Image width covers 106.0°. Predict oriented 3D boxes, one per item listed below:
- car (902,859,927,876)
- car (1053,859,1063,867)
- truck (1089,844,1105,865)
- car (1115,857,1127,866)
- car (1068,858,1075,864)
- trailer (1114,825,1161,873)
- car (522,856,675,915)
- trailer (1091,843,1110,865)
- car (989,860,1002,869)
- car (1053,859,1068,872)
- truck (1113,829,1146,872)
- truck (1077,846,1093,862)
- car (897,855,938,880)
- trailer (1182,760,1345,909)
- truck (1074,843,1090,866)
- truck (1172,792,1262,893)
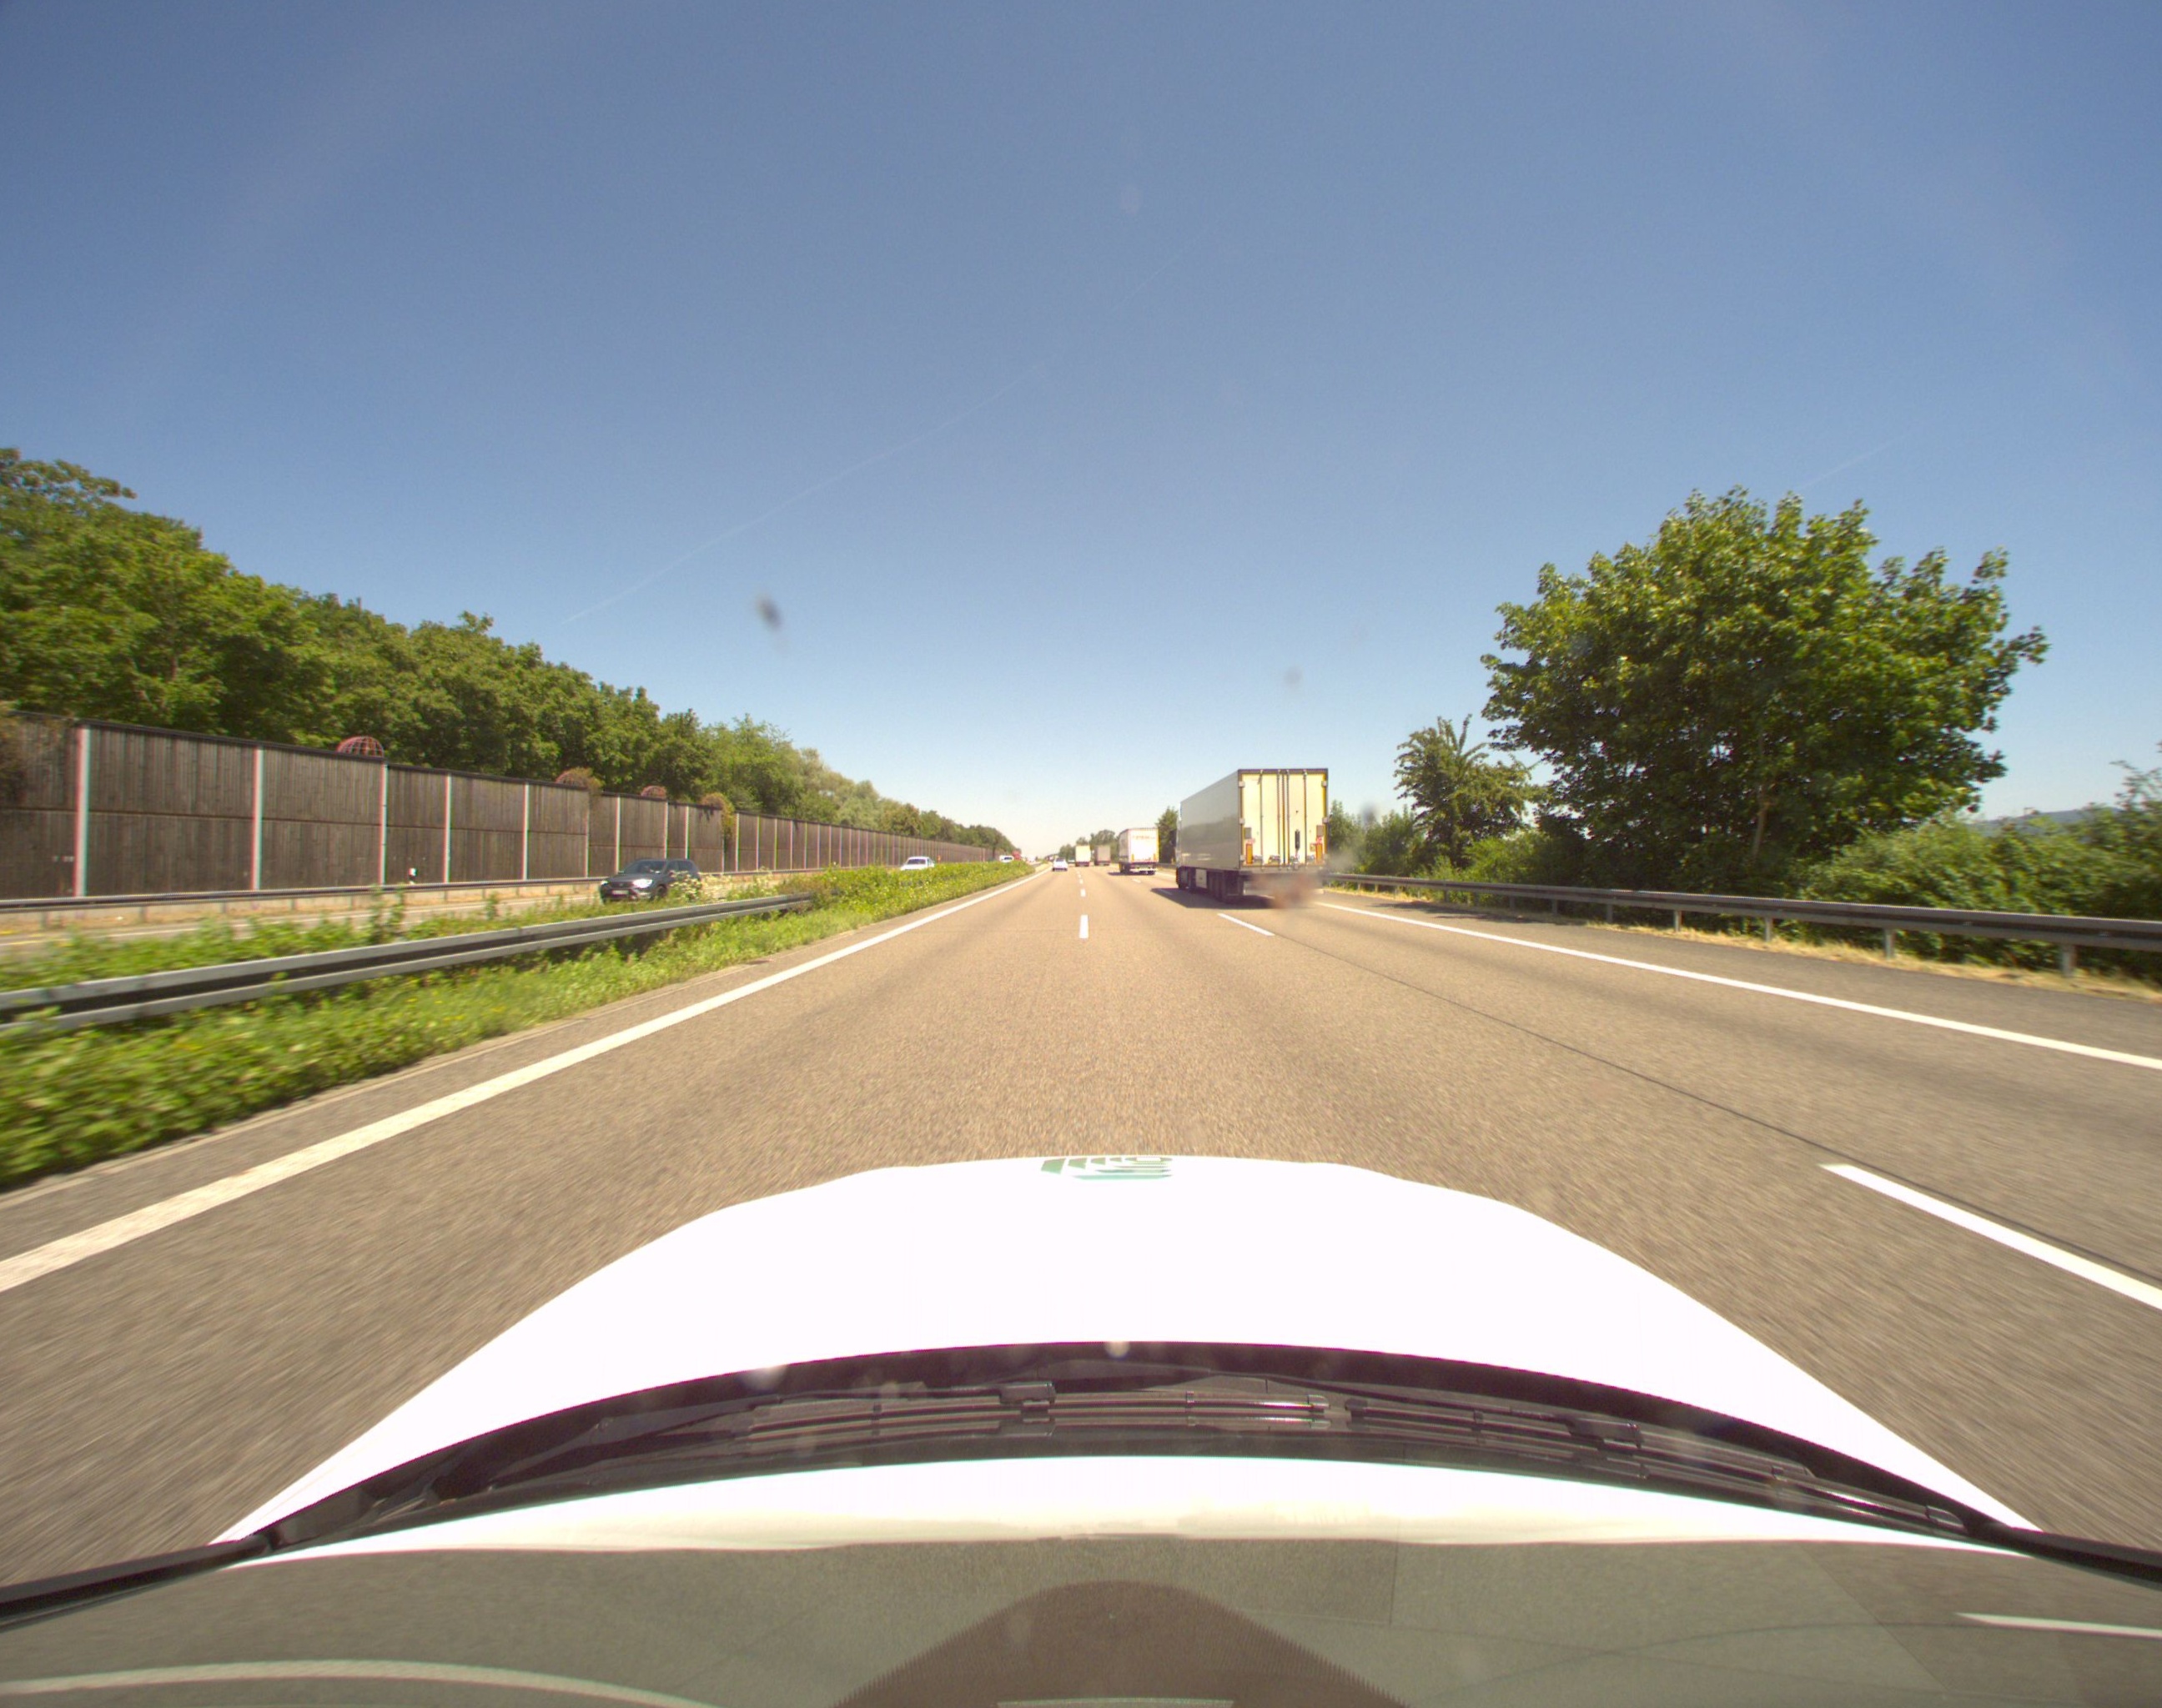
[{"bbox_3d":[-20.286,1.666,99.482,1.987,2.014,5.384,0,0,0],"label":"car"},{"bbox_3d":[-4.503,1.812,160.297,1.850,1.617,3.998,0,-1,-1],"label":"car"},{"bbox_3d":[3.468,0.178,173.025,2.686,4.216,7.826,1,-1,-4],"label":"truck"},{"bbox_3d":[7.325,1.420,147.783,1.850,1.617,3.997,0,-1,-2],"label":"car"},{"bbox_3d":[-2.556,1.906,219.820,1.849,1.617,3.999,0,-1,0],"label":"car"},{"bbox_3d":[5.114,-0.386,76.130,2.701,4.088,14.135,0,-1,-3],"label":"trailer"},{"bbox_3d":[-14.832,0.901,25.424,1.987,1.647,4.691,-1,0,0],"label":"car"},{"bbox_3d":[3.931,0.092,166.371,2.698,4.216,13.191,1,-1,-4],"label":"trailer"},{"bbox_3d":[-15.812,1.960,151.166,1.988,1.643,5.583,0,0,-1],"label":"car"},{"bbox_3d":[-2.517,1.422,100.205,1.850,1.486,3.997,0,-1,-2],"label":"car"},{"bbox_3d":[4.843,-0.290,82.125,2.700,4.088,6.958,0,-1,-2],"label":"truck"},{"bbox_3d":[1.232,0.032,241.791,3.369,4.304,11.426,3,-1,-5],"label":"truck"},{"bbox_3d":[-11.604,0.924,58.198,1.988,1.647,5.043,-1,0,-1],"label":"car"},{"bbox_3d":[5.842,-0.510,28.880,2.950,4.106,12.530,-1,0,0],"label":"trailer"},{"bbox_3d":[0.141,0.181,154.769,2.699,4.086,13.463,1,-1,-2],"label":"truck"},{"bbox_3d":[5.889,-0.463,36.381,2.950,4.106,6.205,-1,0,0],"label":"truck"}]
